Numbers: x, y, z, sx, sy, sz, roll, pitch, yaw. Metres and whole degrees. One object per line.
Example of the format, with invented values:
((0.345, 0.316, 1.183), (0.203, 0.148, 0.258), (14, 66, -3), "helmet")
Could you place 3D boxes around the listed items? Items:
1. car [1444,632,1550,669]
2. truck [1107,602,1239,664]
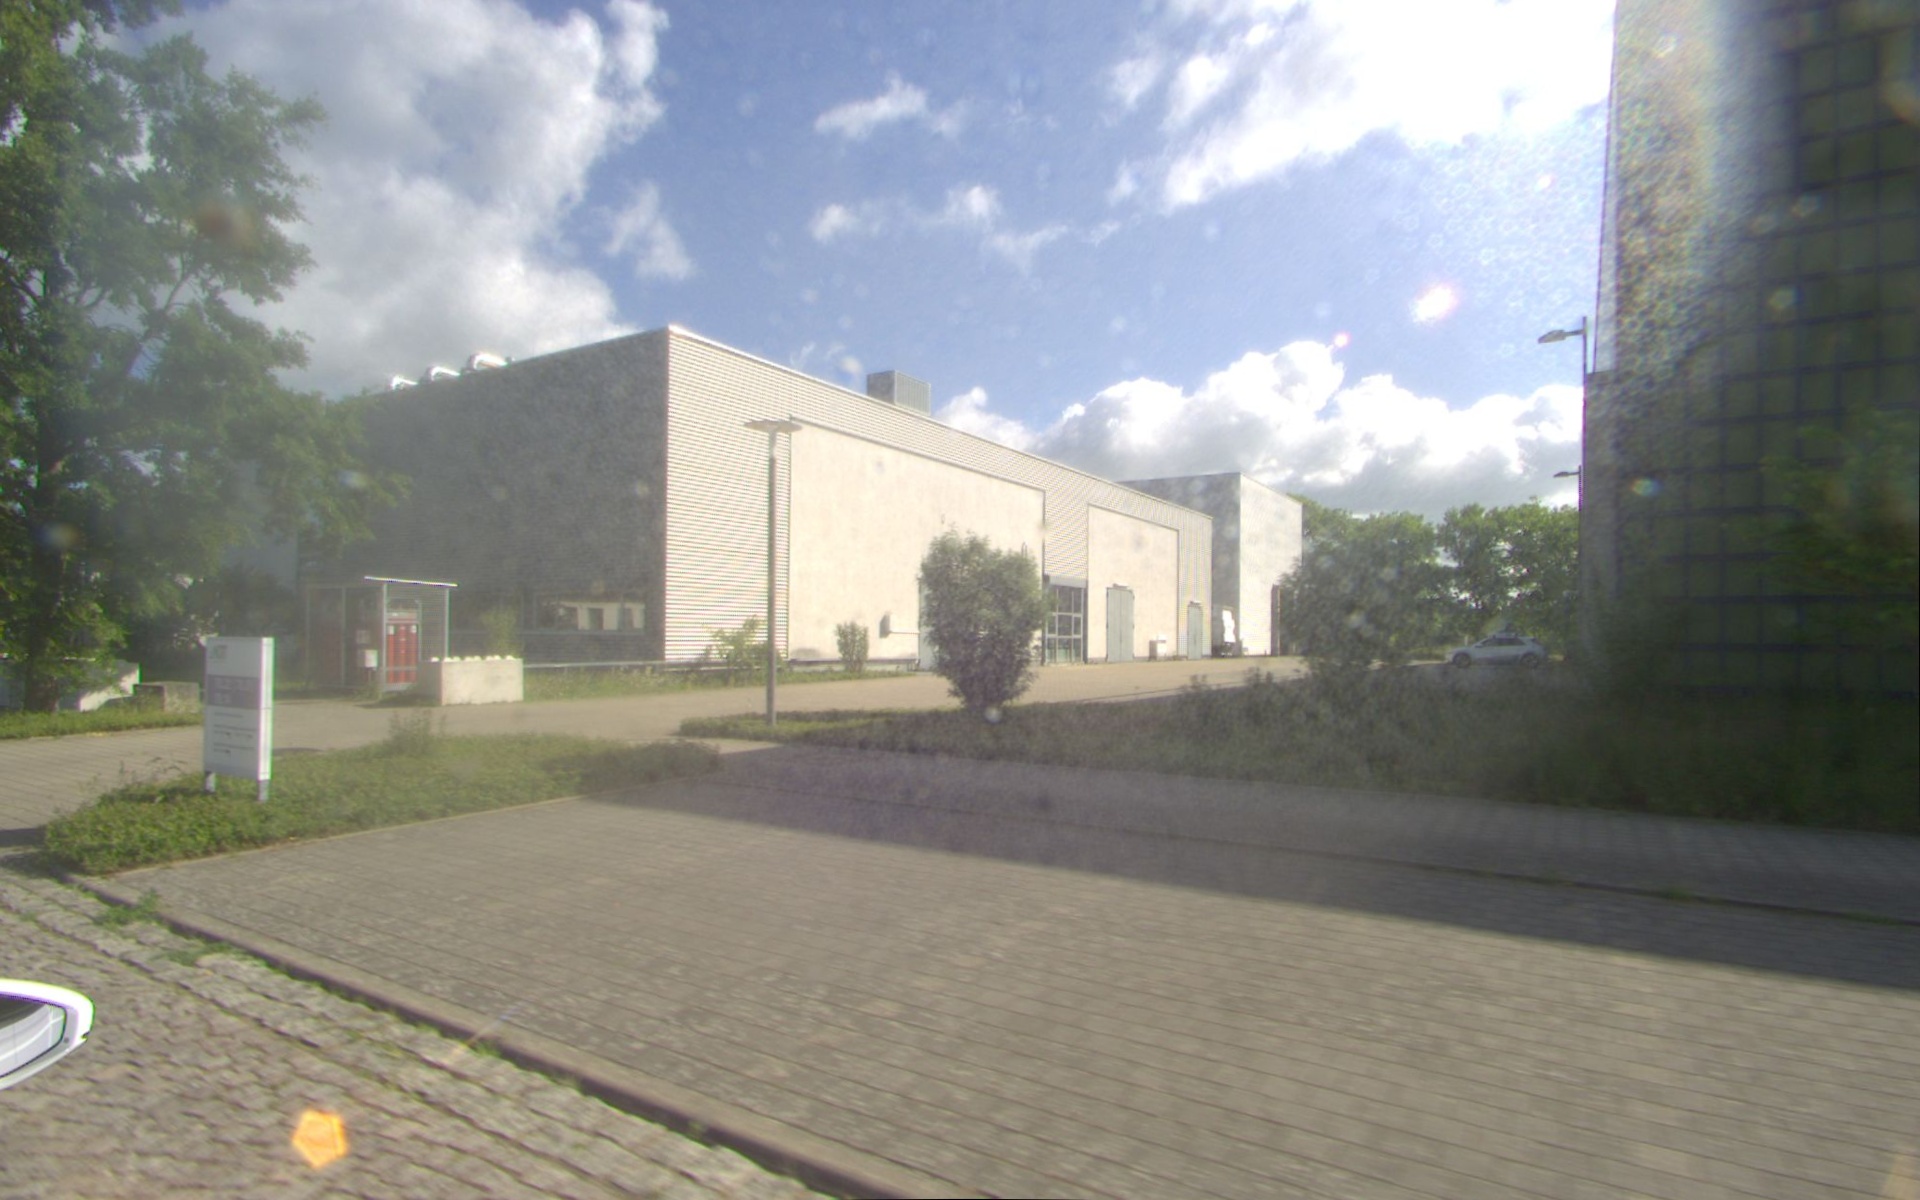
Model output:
((26.573, 2.466, 49.587), (4.513, 1.684, 1.991), (0, -2, 32), "car")
((13.739, 2.130, 64.959), (7.989, 3.866, 2.637), (-1, -2, 33), "truck")
